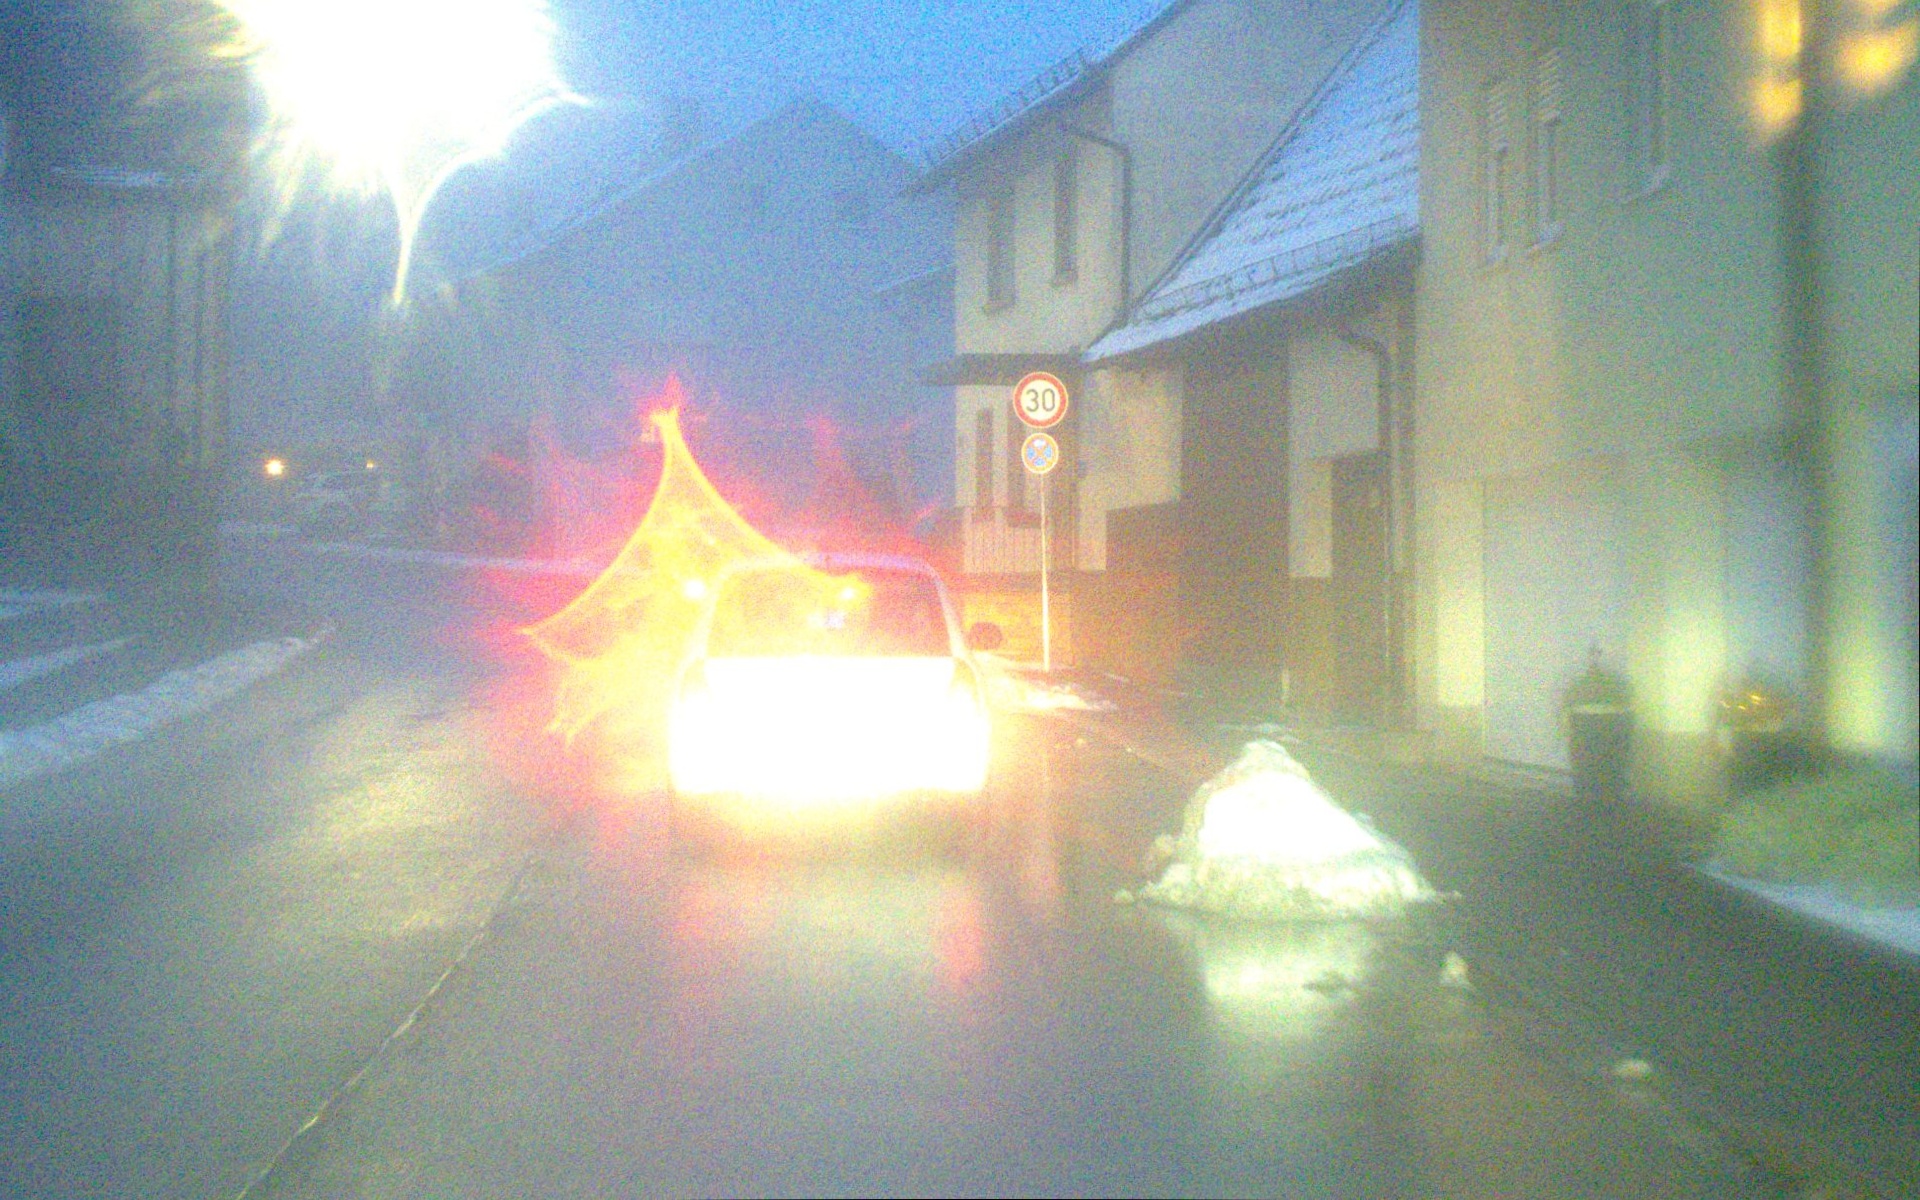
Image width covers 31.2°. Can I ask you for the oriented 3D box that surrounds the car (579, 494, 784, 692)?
[{"bbox_3d":[-2.498,-0.060,30.274,1.645,1.590,3.700,2,0,-6],"label":"car"}]

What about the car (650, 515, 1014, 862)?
[{"bbox_3d":[-0.764,0.417,18.016,1.645,1.590,3.700,2,0,-5],"label":"car"}]
